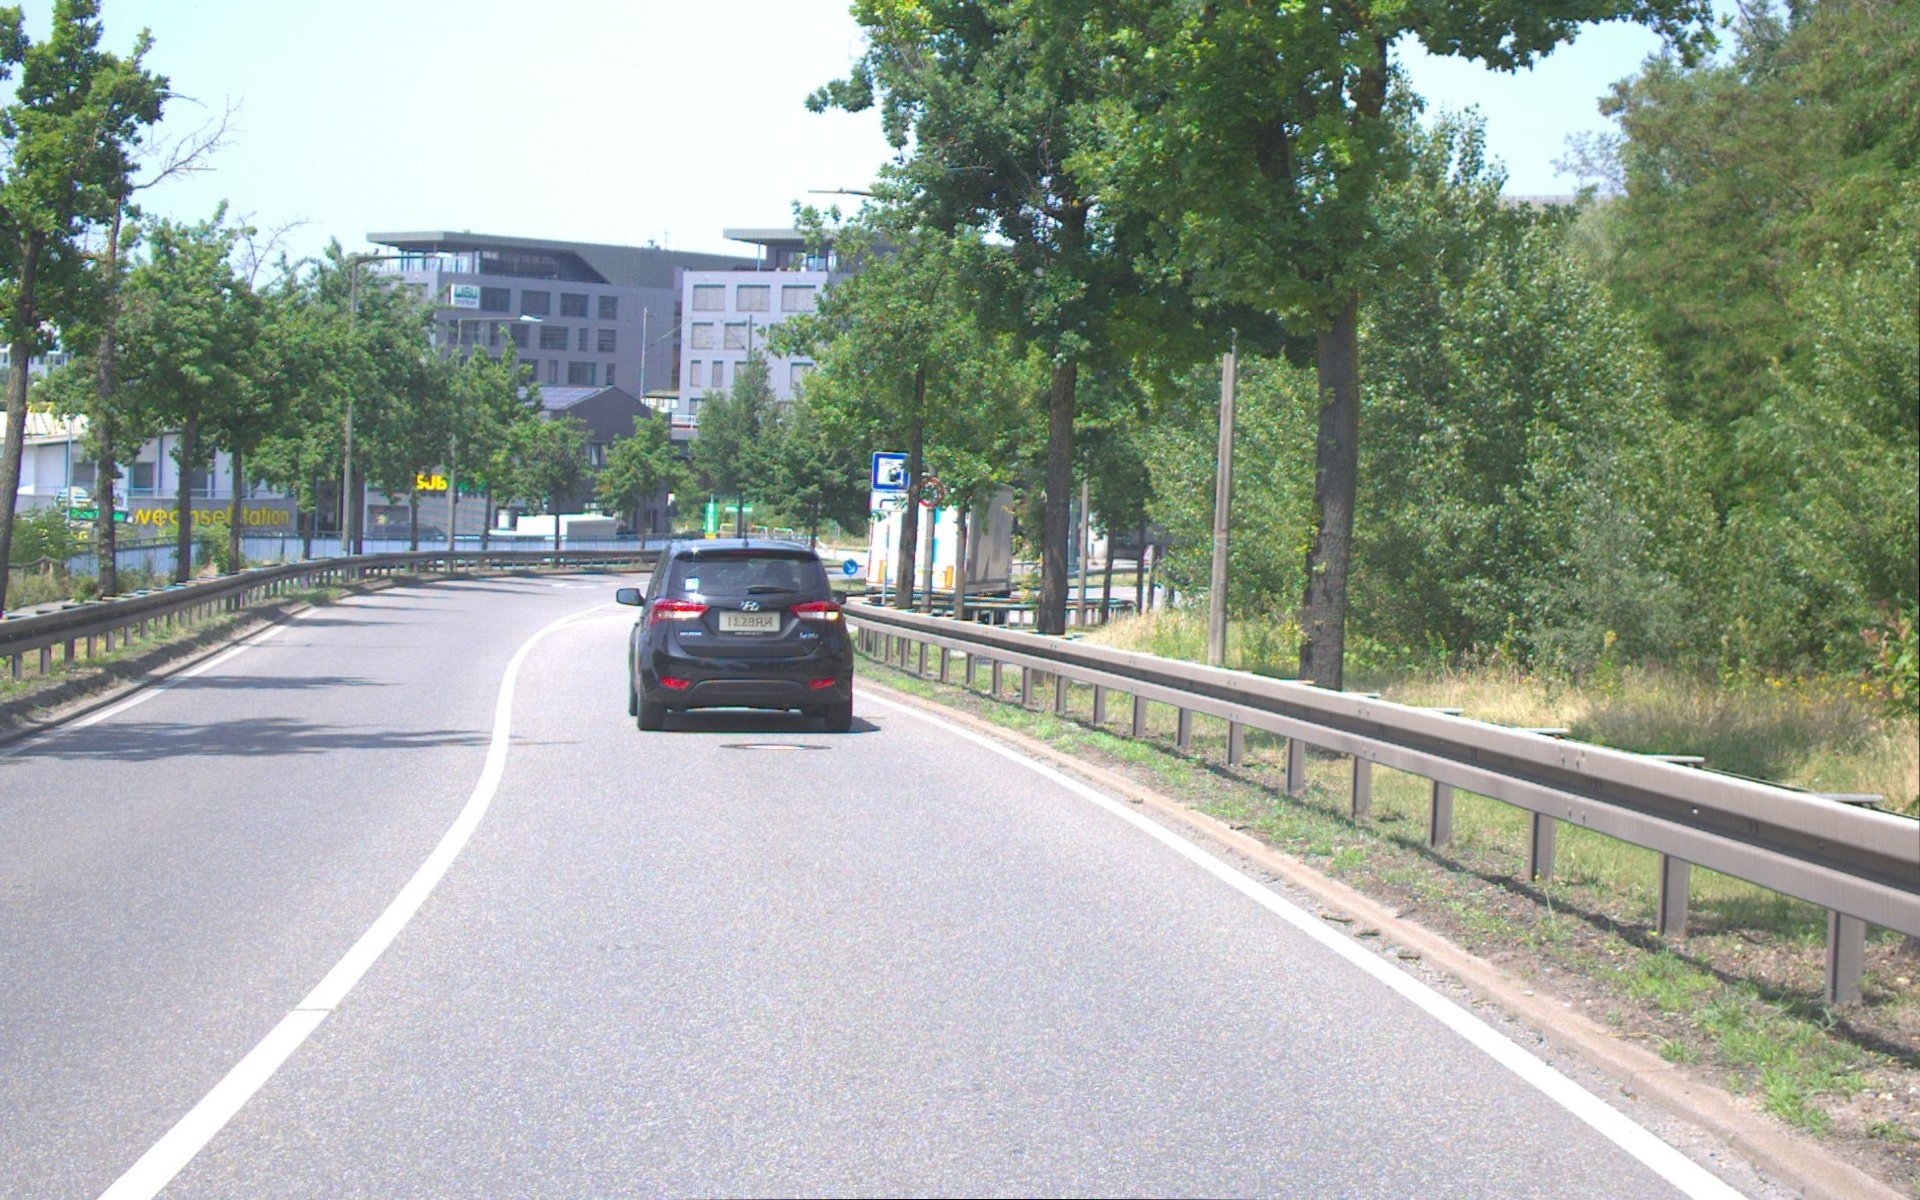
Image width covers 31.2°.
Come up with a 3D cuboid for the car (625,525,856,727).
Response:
[{"bbox_3d":[-1.945,0.189,29.462,1.767,1.593,4.078,1,0,-6],"label":"car"}]

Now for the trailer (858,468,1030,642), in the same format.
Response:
[{"bbox_3d":[-0.268,-1.410,95.787,3.079,4.353,14.772,3,2,6],"label":"trailer"}]

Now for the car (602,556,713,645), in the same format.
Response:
[{"bbox_3d":[-5.876,-0.017,67.130,1.956,1.628,4.280,2,1,-3],"label":"car"}]
